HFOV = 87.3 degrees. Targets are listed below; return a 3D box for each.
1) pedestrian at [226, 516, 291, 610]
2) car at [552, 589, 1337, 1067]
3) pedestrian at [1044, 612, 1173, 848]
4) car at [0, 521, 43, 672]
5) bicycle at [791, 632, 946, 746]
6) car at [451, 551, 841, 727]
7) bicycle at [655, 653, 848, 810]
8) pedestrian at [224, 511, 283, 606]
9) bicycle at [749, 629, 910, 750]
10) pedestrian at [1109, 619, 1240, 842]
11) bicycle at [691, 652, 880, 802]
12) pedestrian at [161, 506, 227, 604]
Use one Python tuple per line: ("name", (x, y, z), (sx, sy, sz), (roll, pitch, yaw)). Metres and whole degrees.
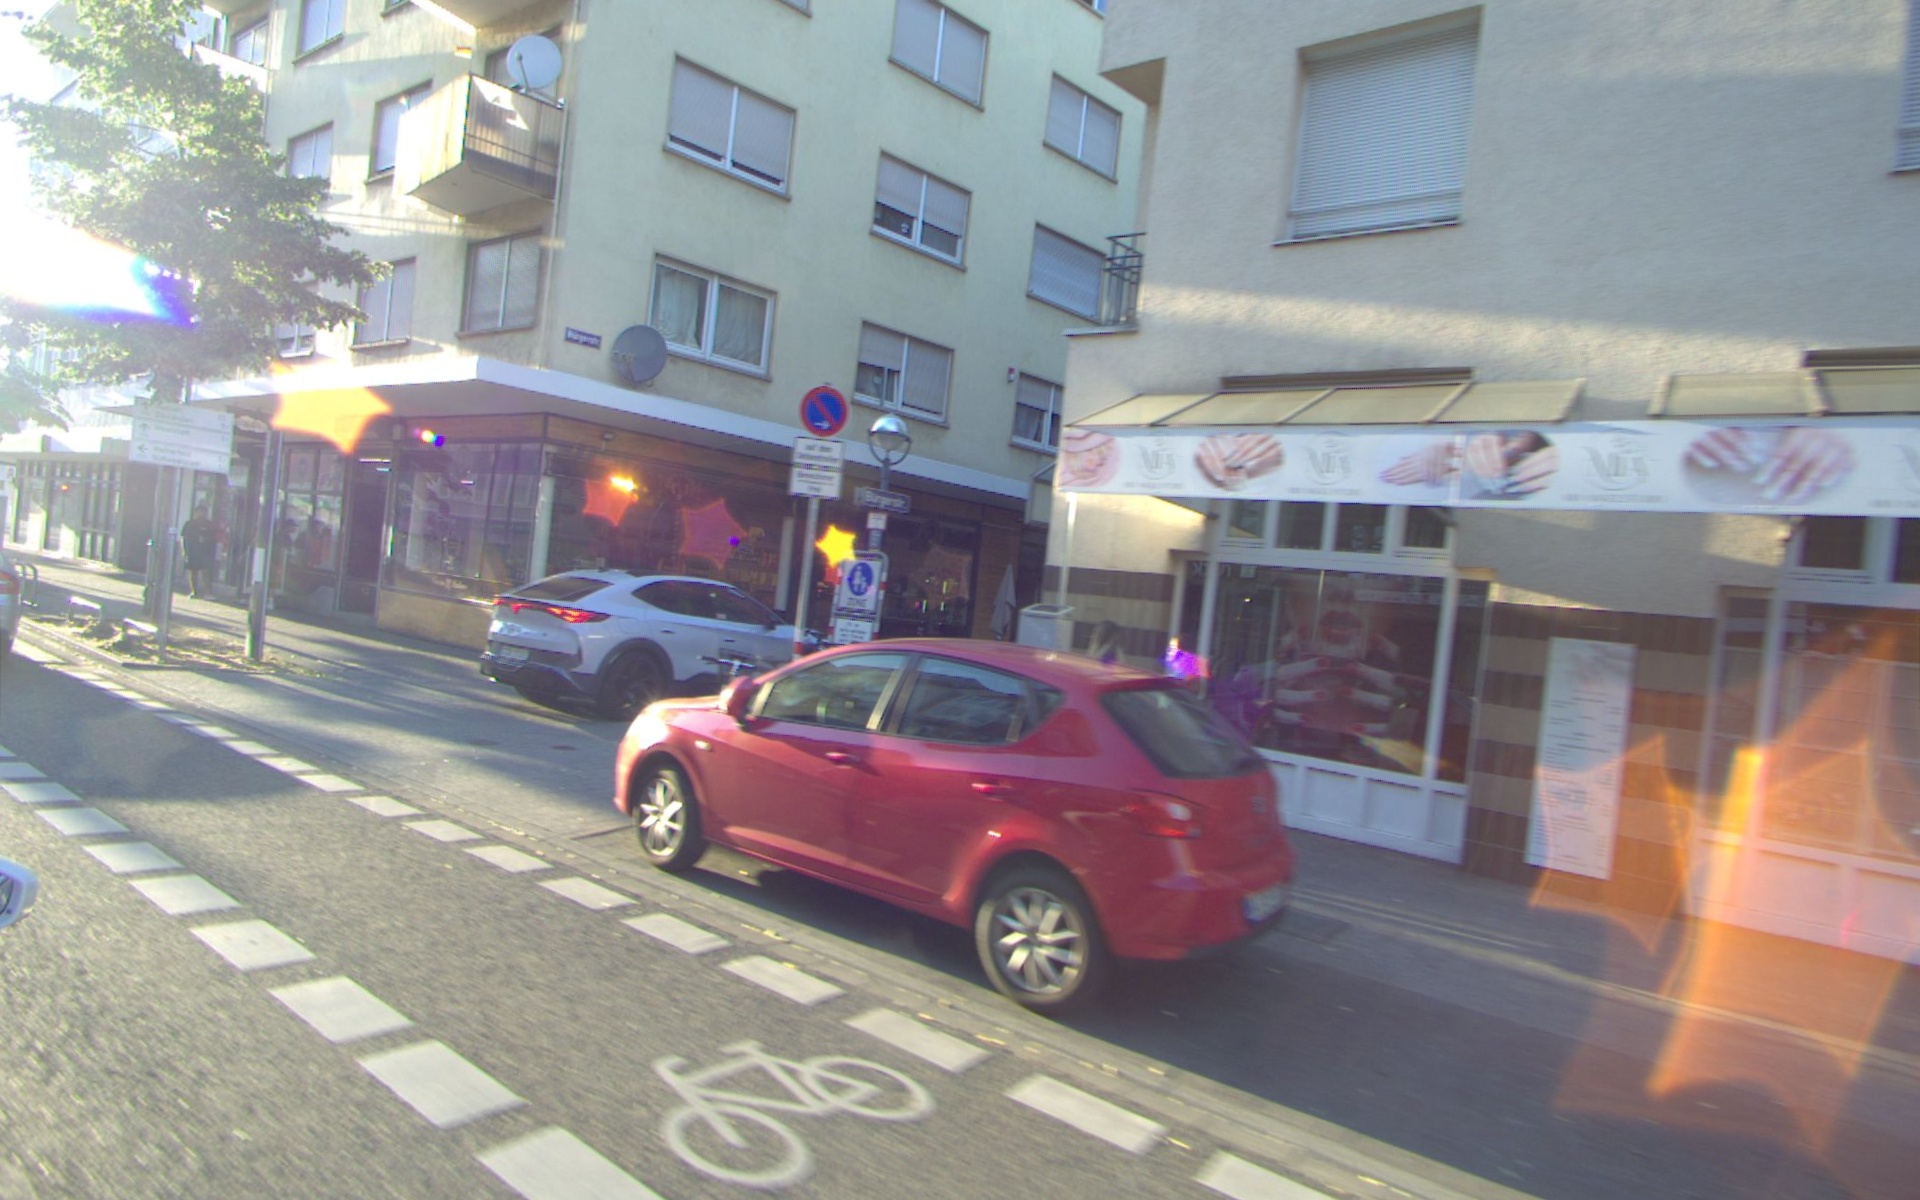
("pedestrian", (-13.530, -0.711, 19.414), (0.765, 1.679, 0.642), (7, -1, 36))
("car", (-0.259, 0.876, 5.534), (3.969, 1.439, 1.722), (6, 1, 35))
("pedestrian", (1.052, 0.898, 7.131), (0.546, 1.549, 0.539), (7, 1, 41))
("car", (-11.184, -0.291, 10.168), (4.480, 1.394, 1.802), (6, -2, 35))
("bicycle", (-1.073, 0.997, 11.545), (1.814, 1.046, 0.391), (6, 1, 33))
("car", (-3.538, 0.471, 12.082), (1.827, 1.632, 4.171), (6, 0, 33))
("bicycle", (-1.674, 0.998, 7.956), (1.589, 0.968, 0.391), (6, 0, 33))
("pedestrian", (-14.180, -0.816, 20.213), (0.518, 1.804, 0.582), (7, -1, 16))
("bicycle", (-1.450, 0.947, 10.985), (1.814, 1.063, 0.391), (6, 1, 33))
("pedestrian", (1.627, 0.962, 7.633), (0.641, 1.549, 0.539), (7, 1, 41))
("bicycle", (-1.467, 1.010, 8.307), (1.613, 0.968, 0.391), (6, 0, 33))
("pedestrian", (-15.261, -0.891, 20.048), (0.640, 1.828, 0.708), (7, -1, 36))
